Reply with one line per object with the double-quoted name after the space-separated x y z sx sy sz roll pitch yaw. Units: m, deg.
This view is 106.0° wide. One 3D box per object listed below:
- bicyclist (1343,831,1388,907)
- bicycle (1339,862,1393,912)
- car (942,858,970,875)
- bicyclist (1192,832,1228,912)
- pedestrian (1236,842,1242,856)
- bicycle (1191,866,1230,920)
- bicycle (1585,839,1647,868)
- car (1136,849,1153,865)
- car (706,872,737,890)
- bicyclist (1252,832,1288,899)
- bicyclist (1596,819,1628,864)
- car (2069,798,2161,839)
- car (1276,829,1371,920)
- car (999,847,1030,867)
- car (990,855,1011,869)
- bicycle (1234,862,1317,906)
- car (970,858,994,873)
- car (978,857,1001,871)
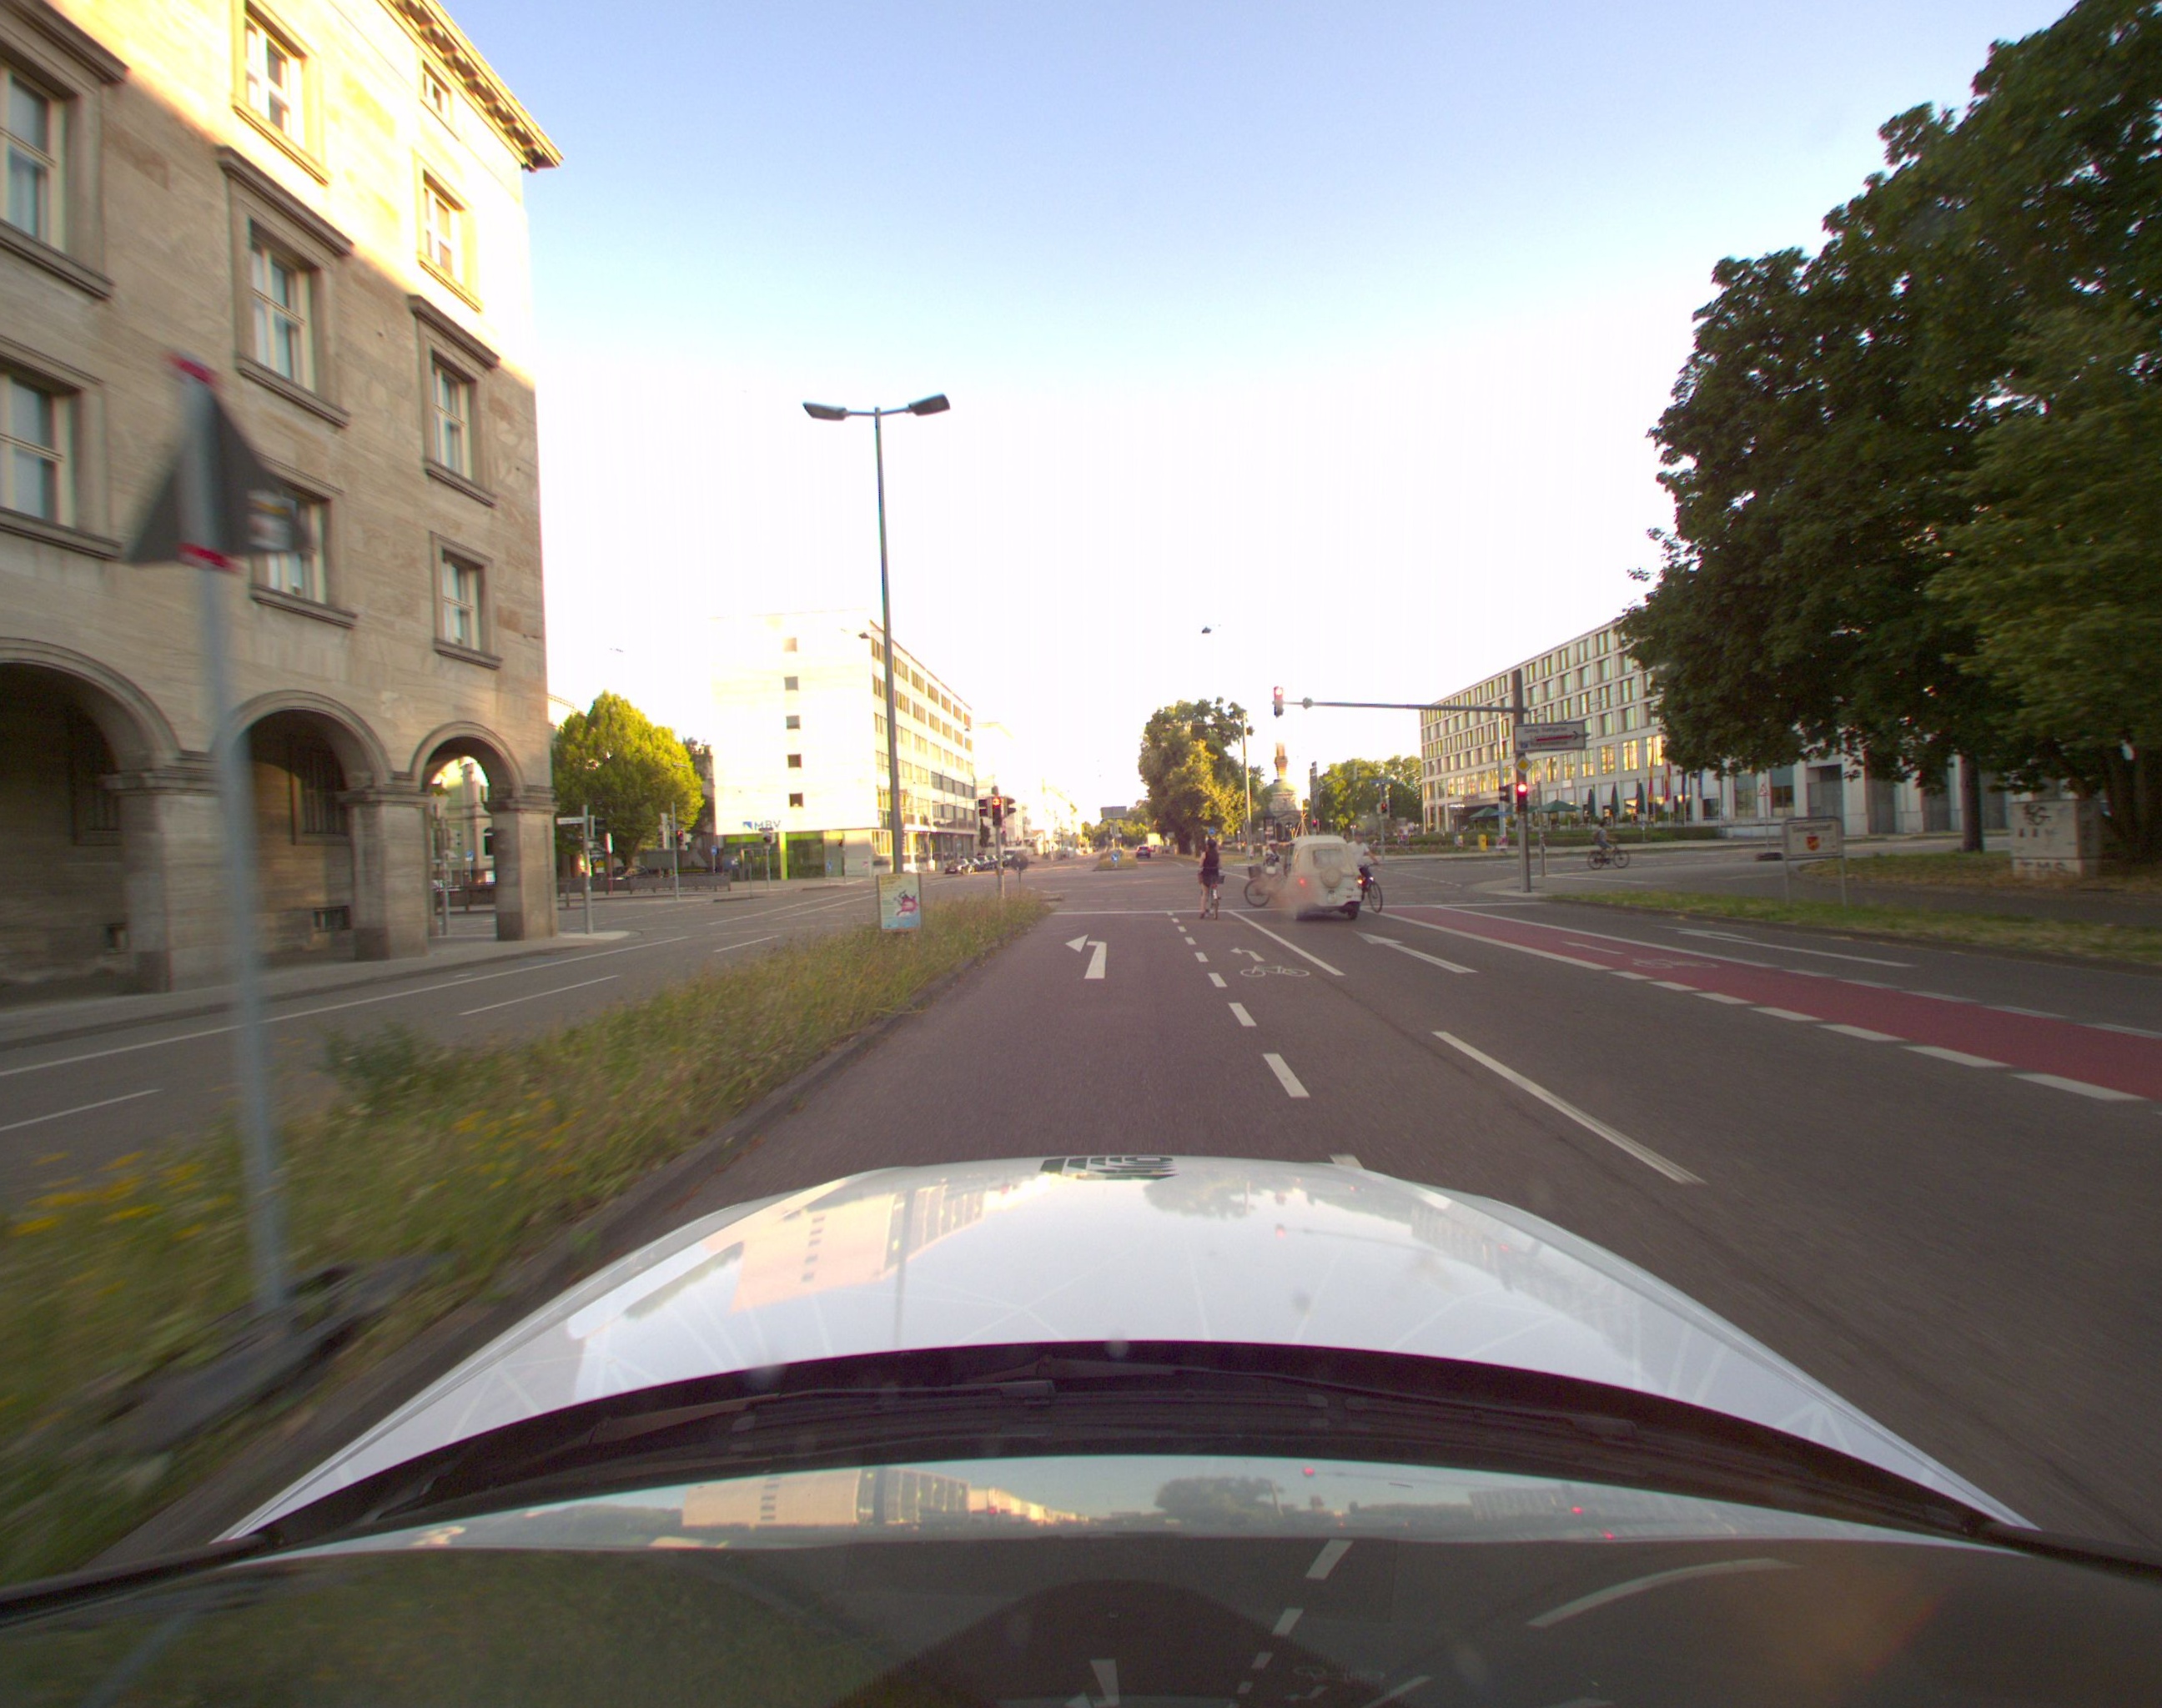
6.590 0.338 18.887 0.758 1.693 0.750 -3 0 7 "bicyclist"
6.637 0.747 19.070 0.725 1.069 1.905 -1 0 4 "bicycle"
-11.963 1.247 78.022 1.789 1.475 4.002 -3 -2 2 "car"
2.817 0.386 17.862 0.626 1.693 0.749 -3 0 2 "bicyclist"
19.062 -0.620 98.367 0.506 1.668 0.531 -3 0 2 "pedestrian"
2.862 0.833 18.176 0.634 1.069 2.071 -2 0 3 "bicycle"
20.957 -0.016 31.923 1.887 1.069 0.732 -2 0 5 "bicycle"
8.359 0.382 108.153 1.986 2.013 4.002 -3 0 2 "car"
-24.375 1.806 55.283 0.850 1.073 2.523 -3 0 2 "car"
4.880 0.288 21.034 0.740 1.693 0.719 -3 0 20 "bicyclist"
20.819 -0.480 31.926 0.742 1.693 0.716 -3 0 6 "bicyclist"
46.112 -1.588 35.283 4.526 1.648 1.996 -3 0 -6 "car"
5.138 0.380 17.501 1.452 1.780 2.569 -2 1 5 "car"
-8.723 0.417 107.563 2.161 2.385 6.012 -3 -2 14 "car"
-9.948 0.998 101.009 1.787 1.475 4.006 -3 -2 6 "car"
5.022 0.759 21.004 1.998 1.069 0.734 0 0 19 "bicycle"
-10.679 1.295 88.115 1.789 1.475 4.002 -3 -2 2 "car"
-10.614 1.187 94.625 1.787 1.475 4.007 -3 -2 7 "car"
